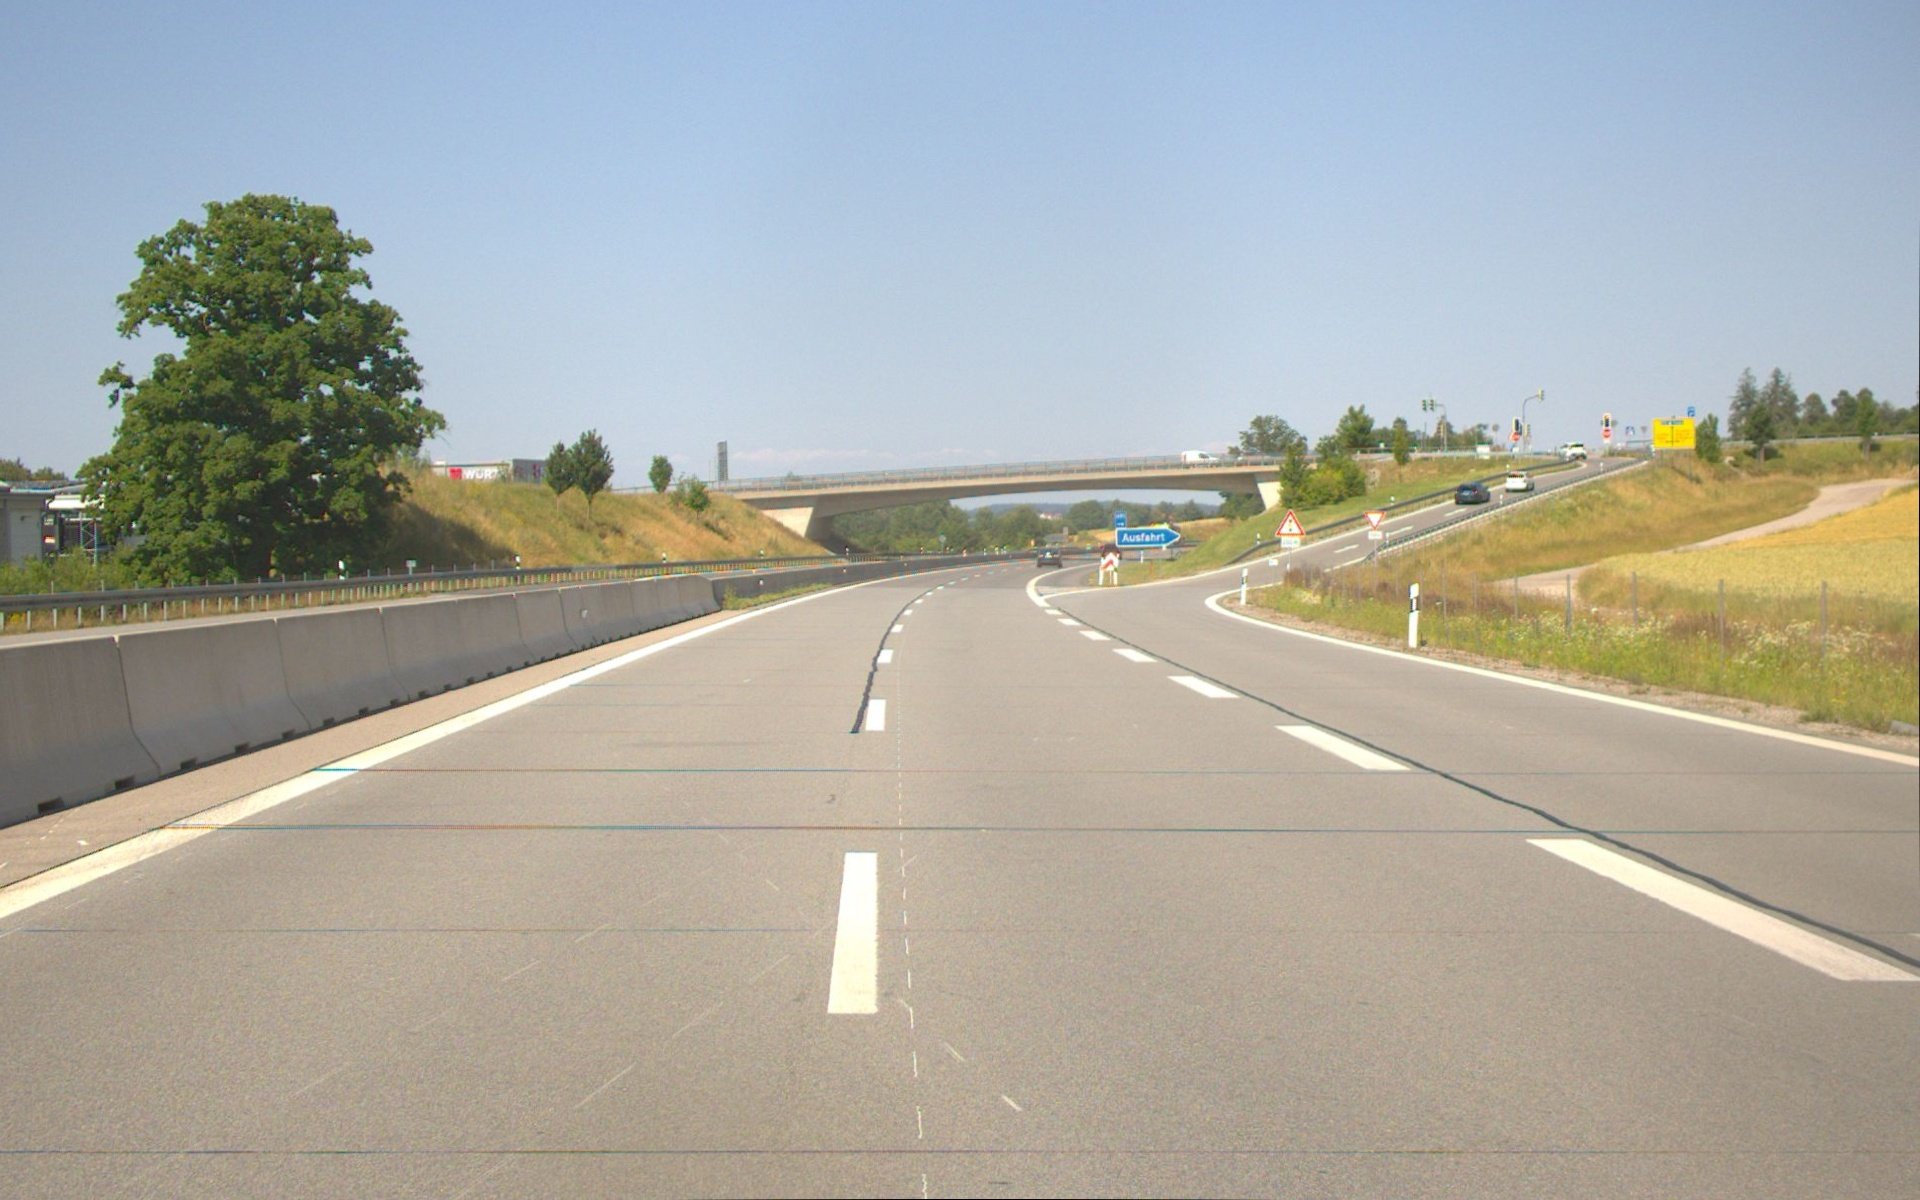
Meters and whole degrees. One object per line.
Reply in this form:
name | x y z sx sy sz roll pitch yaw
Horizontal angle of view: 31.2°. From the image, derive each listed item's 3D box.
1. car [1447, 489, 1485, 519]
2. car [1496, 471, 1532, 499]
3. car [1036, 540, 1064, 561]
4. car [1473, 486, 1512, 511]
car | 35.968 -6.835 244.423 1.995 2.007 3.997 -2 1 18
car | 41.439 -8.587 257.004 1.995 2.007 3.997 -2 1 18
car | 6.678 -3.655 253.755 1.993 1.415 4.000 -2 1 2
car | 36.306 -6.881 234.220 1.995 1.612 3.997 -2 1 18
